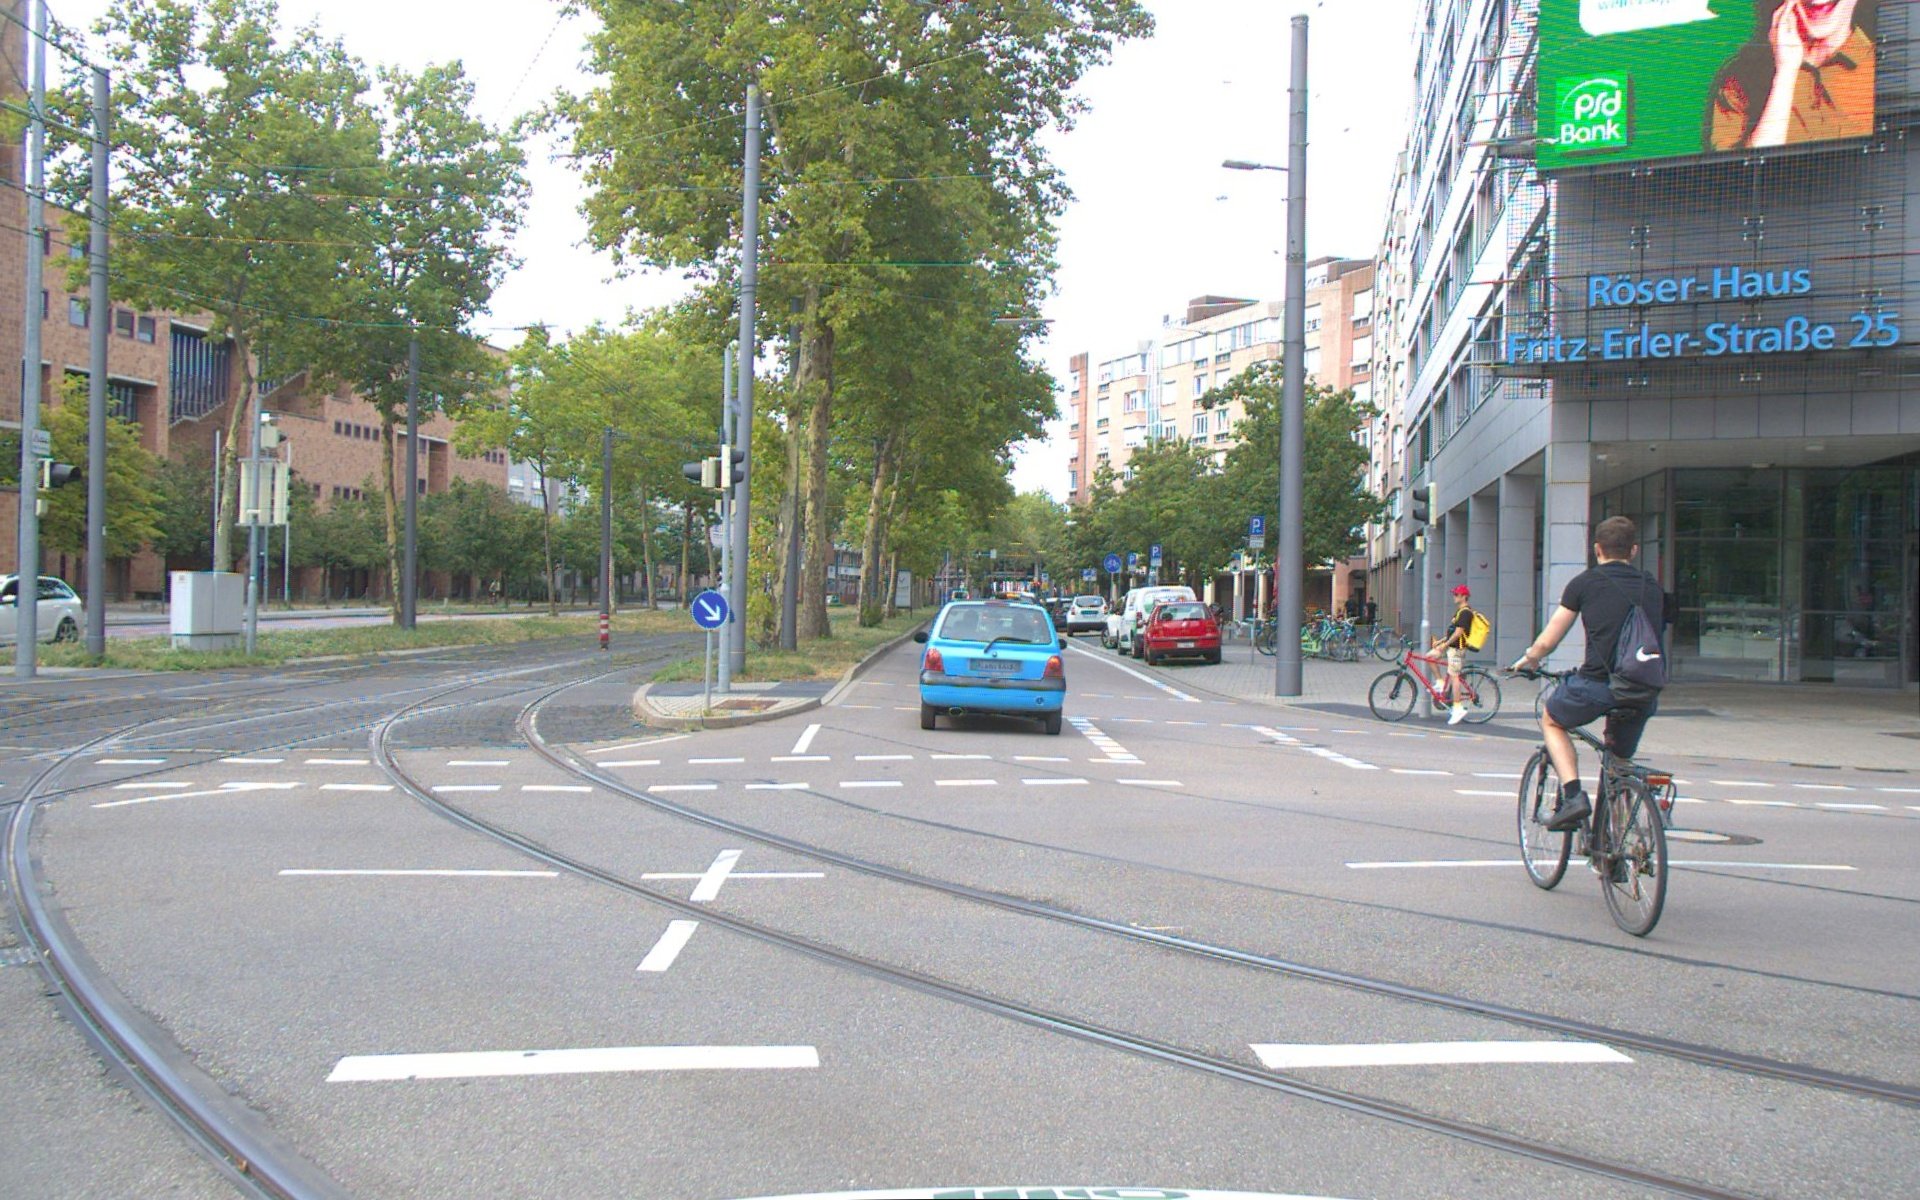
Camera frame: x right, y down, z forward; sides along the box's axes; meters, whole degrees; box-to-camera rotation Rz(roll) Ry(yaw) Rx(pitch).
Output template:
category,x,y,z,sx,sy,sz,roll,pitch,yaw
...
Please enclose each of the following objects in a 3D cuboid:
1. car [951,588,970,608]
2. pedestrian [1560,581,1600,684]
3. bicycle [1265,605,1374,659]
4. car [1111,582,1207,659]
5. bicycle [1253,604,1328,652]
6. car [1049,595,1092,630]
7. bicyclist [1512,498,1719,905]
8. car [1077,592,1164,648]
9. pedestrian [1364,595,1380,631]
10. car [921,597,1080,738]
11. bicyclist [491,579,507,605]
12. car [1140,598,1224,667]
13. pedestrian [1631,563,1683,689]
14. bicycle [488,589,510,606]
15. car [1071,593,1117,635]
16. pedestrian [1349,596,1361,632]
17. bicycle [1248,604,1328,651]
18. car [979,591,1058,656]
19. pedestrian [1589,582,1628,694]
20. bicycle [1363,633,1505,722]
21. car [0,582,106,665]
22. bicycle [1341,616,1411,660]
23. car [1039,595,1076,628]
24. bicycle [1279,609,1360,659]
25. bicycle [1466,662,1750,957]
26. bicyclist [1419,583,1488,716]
category,x,y,z,sx,sy,sz,roll,pitch,yaw
car,0.065,-0.210,164.447,1.892,1.959,4.956,1,0,0
pedestrian,10.732,0.555,28.644,0.534,1.756,0.644,0,1,11
bicycle,8.961,0.787,41.262,2.578,1.280,0.655,1,0,0
car,5.227,0.503,44.001,1.790,1.897,4.646,-1,0,-2
bicycle,8.603,0.726,43.115,1.868,1.218,0.480,1,0,8
car,5.134,0.565,77.227,1.680,1.545,4.203,-1,0,-1
bicyclist,3.072,0.445,7.834,0.577,1.799,1.035,0,0,1
car,5.068,0.602,52.931,1.956,1.630,4.579,-2,1,-5
pedestrian,18.088,0.564,72.639,0.695,1.582,0.799,0,0,13
car,0.454,0.697,19.087,1.607,1.410,3.843,2,0,1
bicyclist,-29.392,-0.518,105.469,0.650,1.618,0.984,1,0,3
car,5.203,0.728,39.187,1.686,1.457,4.255,-2,0,4
pedestrian,11.582,0.420,27.514,0.589,2.048,0.676,1,3,7
bicycle,-29.396,-0.160,105.520,0.654,1.103,2.094,1,0,3
car,5.482,0.545,68.074,1.822,1.682,4.165,0,0,3
pedestrian,17.359,0.604,72.779,0.501,1.582,0.473,0,0,13
bicycle,8.643,0.718,43.626,2.011,1.218,0.480,1,0,8
car,1.618,0.584,44.153,1.737,1.604,4.308,-1,0,7
pedestrian,10.345,0.599,26.383,0.543,1.756,0.495,1,1,22
bicycle,6.561,1.057,22.883,1.859,1.158,0.727,0,0,18
car,-17.752,0.398,30.391,1.747,1.446,4.657,1,0,-1
bicycle,9.661,0.884,38.412,1.527,1.004,0.422,0,0,-4
car,4.848,0.558,82.578,1.704,1.545,4.402,0,0,1
bicycle,8.432,0.801,38.829,1.813,1.158,0.492,0,0,-7
bicycle,3.068,0.927,8.057,0.582,1.158,2.091,0,0,1
bicyclist,6.808,0.664,22.797,0.894,1.795,0.720,0,0,18
